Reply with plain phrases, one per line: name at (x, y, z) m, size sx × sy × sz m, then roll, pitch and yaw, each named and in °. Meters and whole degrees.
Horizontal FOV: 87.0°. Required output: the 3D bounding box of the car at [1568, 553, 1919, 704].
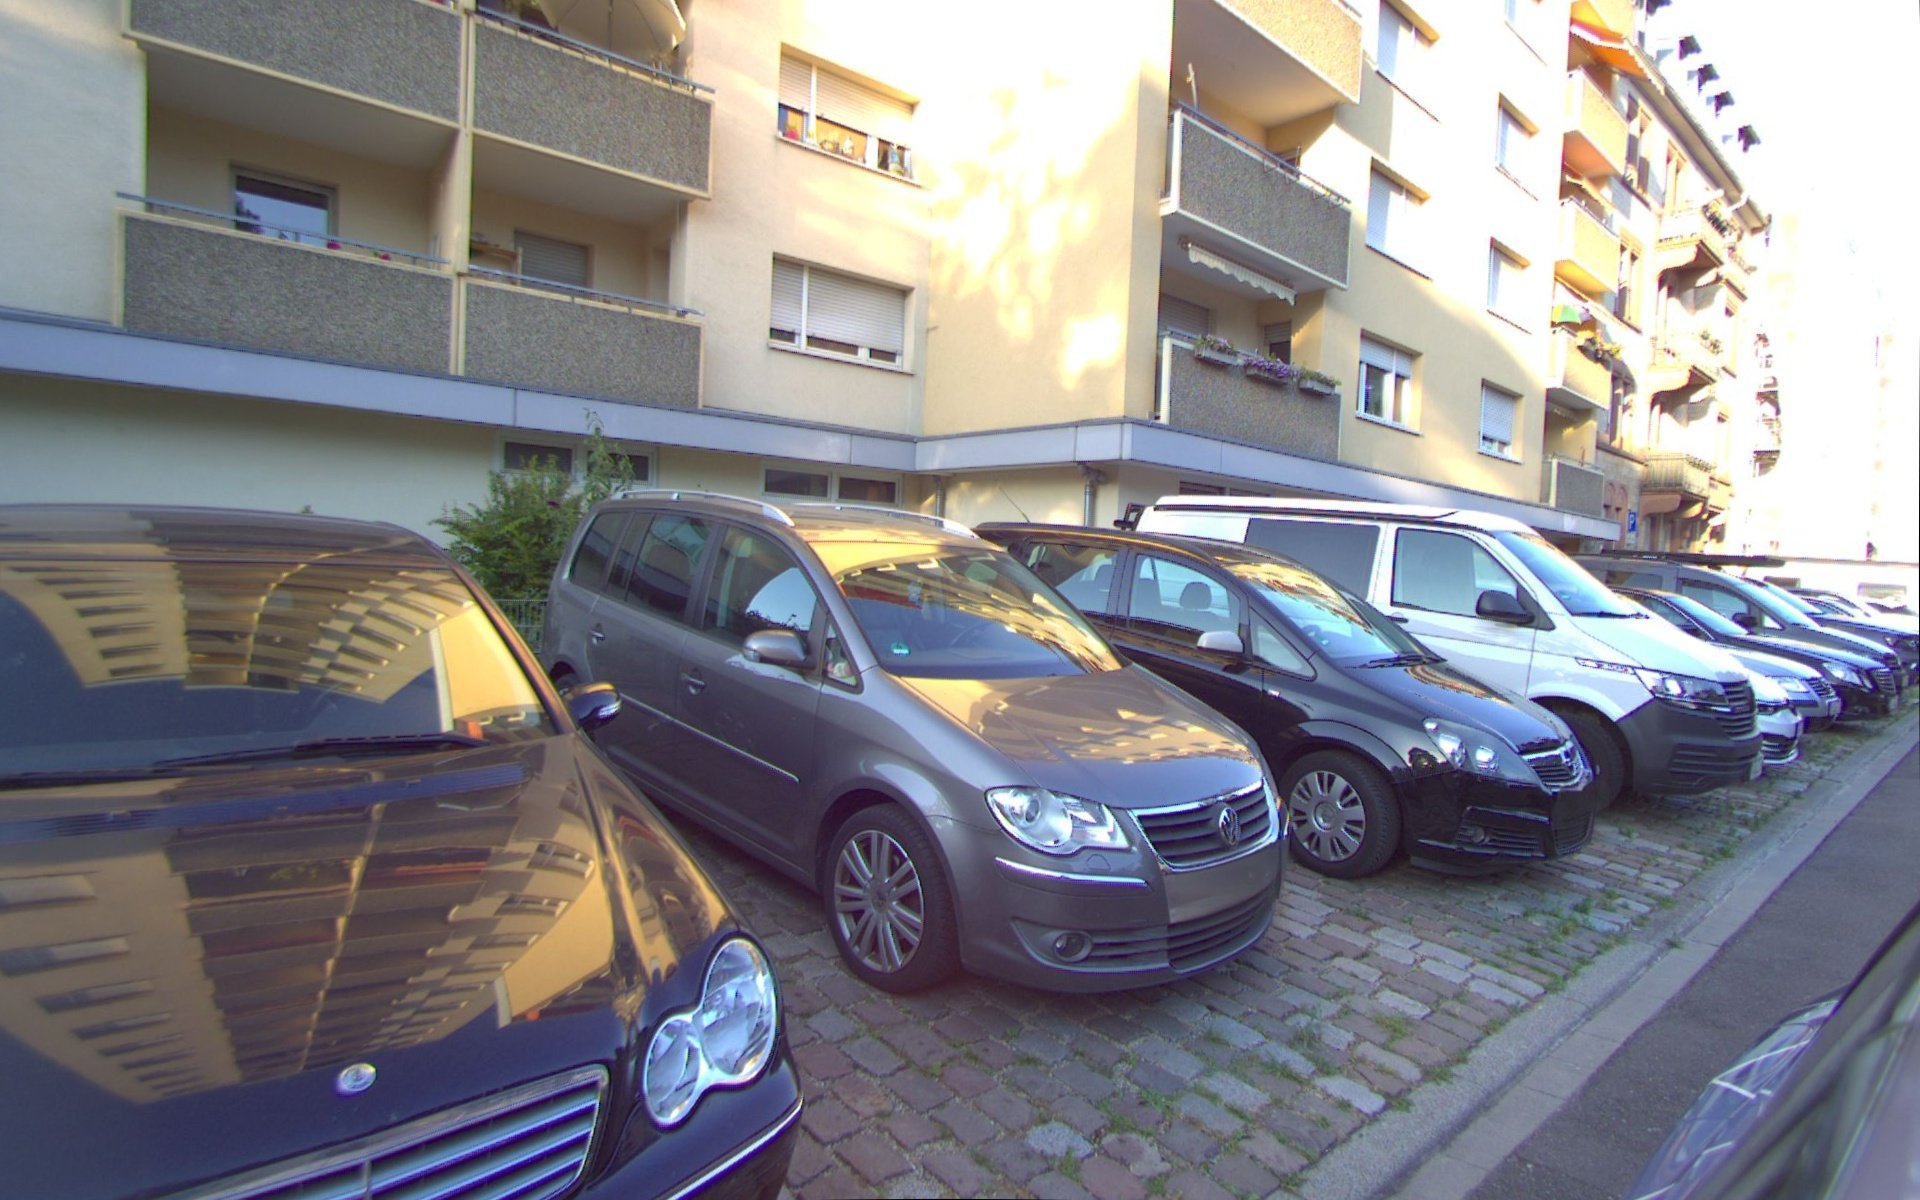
car at (12.449, 0.321, 15.921) m, size 1.814 × 1.885 × 4.522 m, roll 0°, pitch 4°, yaw -42°

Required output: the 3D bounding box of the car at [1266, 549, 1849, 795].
car at (5.412, 0.425, 9.693) m, size 1.814 × 1.650 × 4.413 m, roll -2°, pitch 6°, yaw -41°

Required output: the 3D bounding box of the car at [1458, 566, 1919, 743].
car at (8.875, 0.482, 12.572) m, size 1.814 × 1.581 × 4.413 m, roll -2°, pitch 6°, yaw -41°

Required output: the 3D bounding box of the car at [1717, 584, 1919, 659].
car at (22.460, 0.483, 26.090) m, size 1.813 × 1.638 × 4.414 m, roll -2°, pitch 4°, yaw -40°

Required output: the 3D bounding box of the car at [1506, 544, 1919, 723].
car at (10.682, 0.282, 14.486) m, size 1.814 × 2.004 × 4.647 m, roll -2°, pitch 6°, yaw -41°

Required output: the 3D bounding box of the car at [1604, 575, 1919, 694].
car at (14.229, 0.486, 17.872) m, size 1.813 × 1.572 × 4.416 m, roll -2°, pitch 5°, yaw -39°

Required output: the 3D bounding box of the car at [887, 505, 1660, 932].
car at (1.604, 0.338, 6.444) m, size 1.752 × 1.680 × 4.334 m, roll -2°, pitch 7°, yaw -43°

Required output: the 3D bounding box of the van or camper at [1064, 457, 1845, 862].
van or camper at (3.499, 0.072, 8.162) m, size 2.006 × 2.192 × 5.144 m, roll 0°, pitch 7°, yaw -43°

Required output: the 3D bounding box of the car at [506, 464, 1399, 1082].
car at (-0.493, 0.240, 4.950) m, size 1.815 × 1.680 × 4.412 m, roll -2°, pitch 7°, yaw -43°

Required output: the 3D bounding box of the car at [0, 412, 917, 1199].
car at (-2.263, 0.382, 3.057) m, size 1.815 × 1.549 × 4.410 m, roll -2°, pitch 6°, yaw -43°

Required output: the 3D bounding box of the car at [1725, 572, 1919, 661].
car at (21.078, 0.362, 23.889) m, size 1.812 × 1.769 × 4.418 m, roll 1°, pitch 4°, yaw -37°

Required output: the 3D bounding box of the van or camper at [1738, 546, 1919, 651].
van or camper at (25.100, -0.017, 27.340) m, size 2.014 × 2.534 × 6.074 m, roll 1°, pitch 4°, yaw -41°

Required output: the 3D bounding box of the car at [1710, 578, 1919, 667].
car at (19.320, 0.444, 22.058) m, size 1.813 × 1.572 × 4.415 m, roll -2°, pitch 6°, yaw -40°

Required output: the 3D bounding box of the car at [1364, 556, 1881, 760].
car at (7.052, 0.418, 11.196) m, size 1.814 × 1.611 × 4.413 m, roll -2°, pitch 6°, yaw -41°
